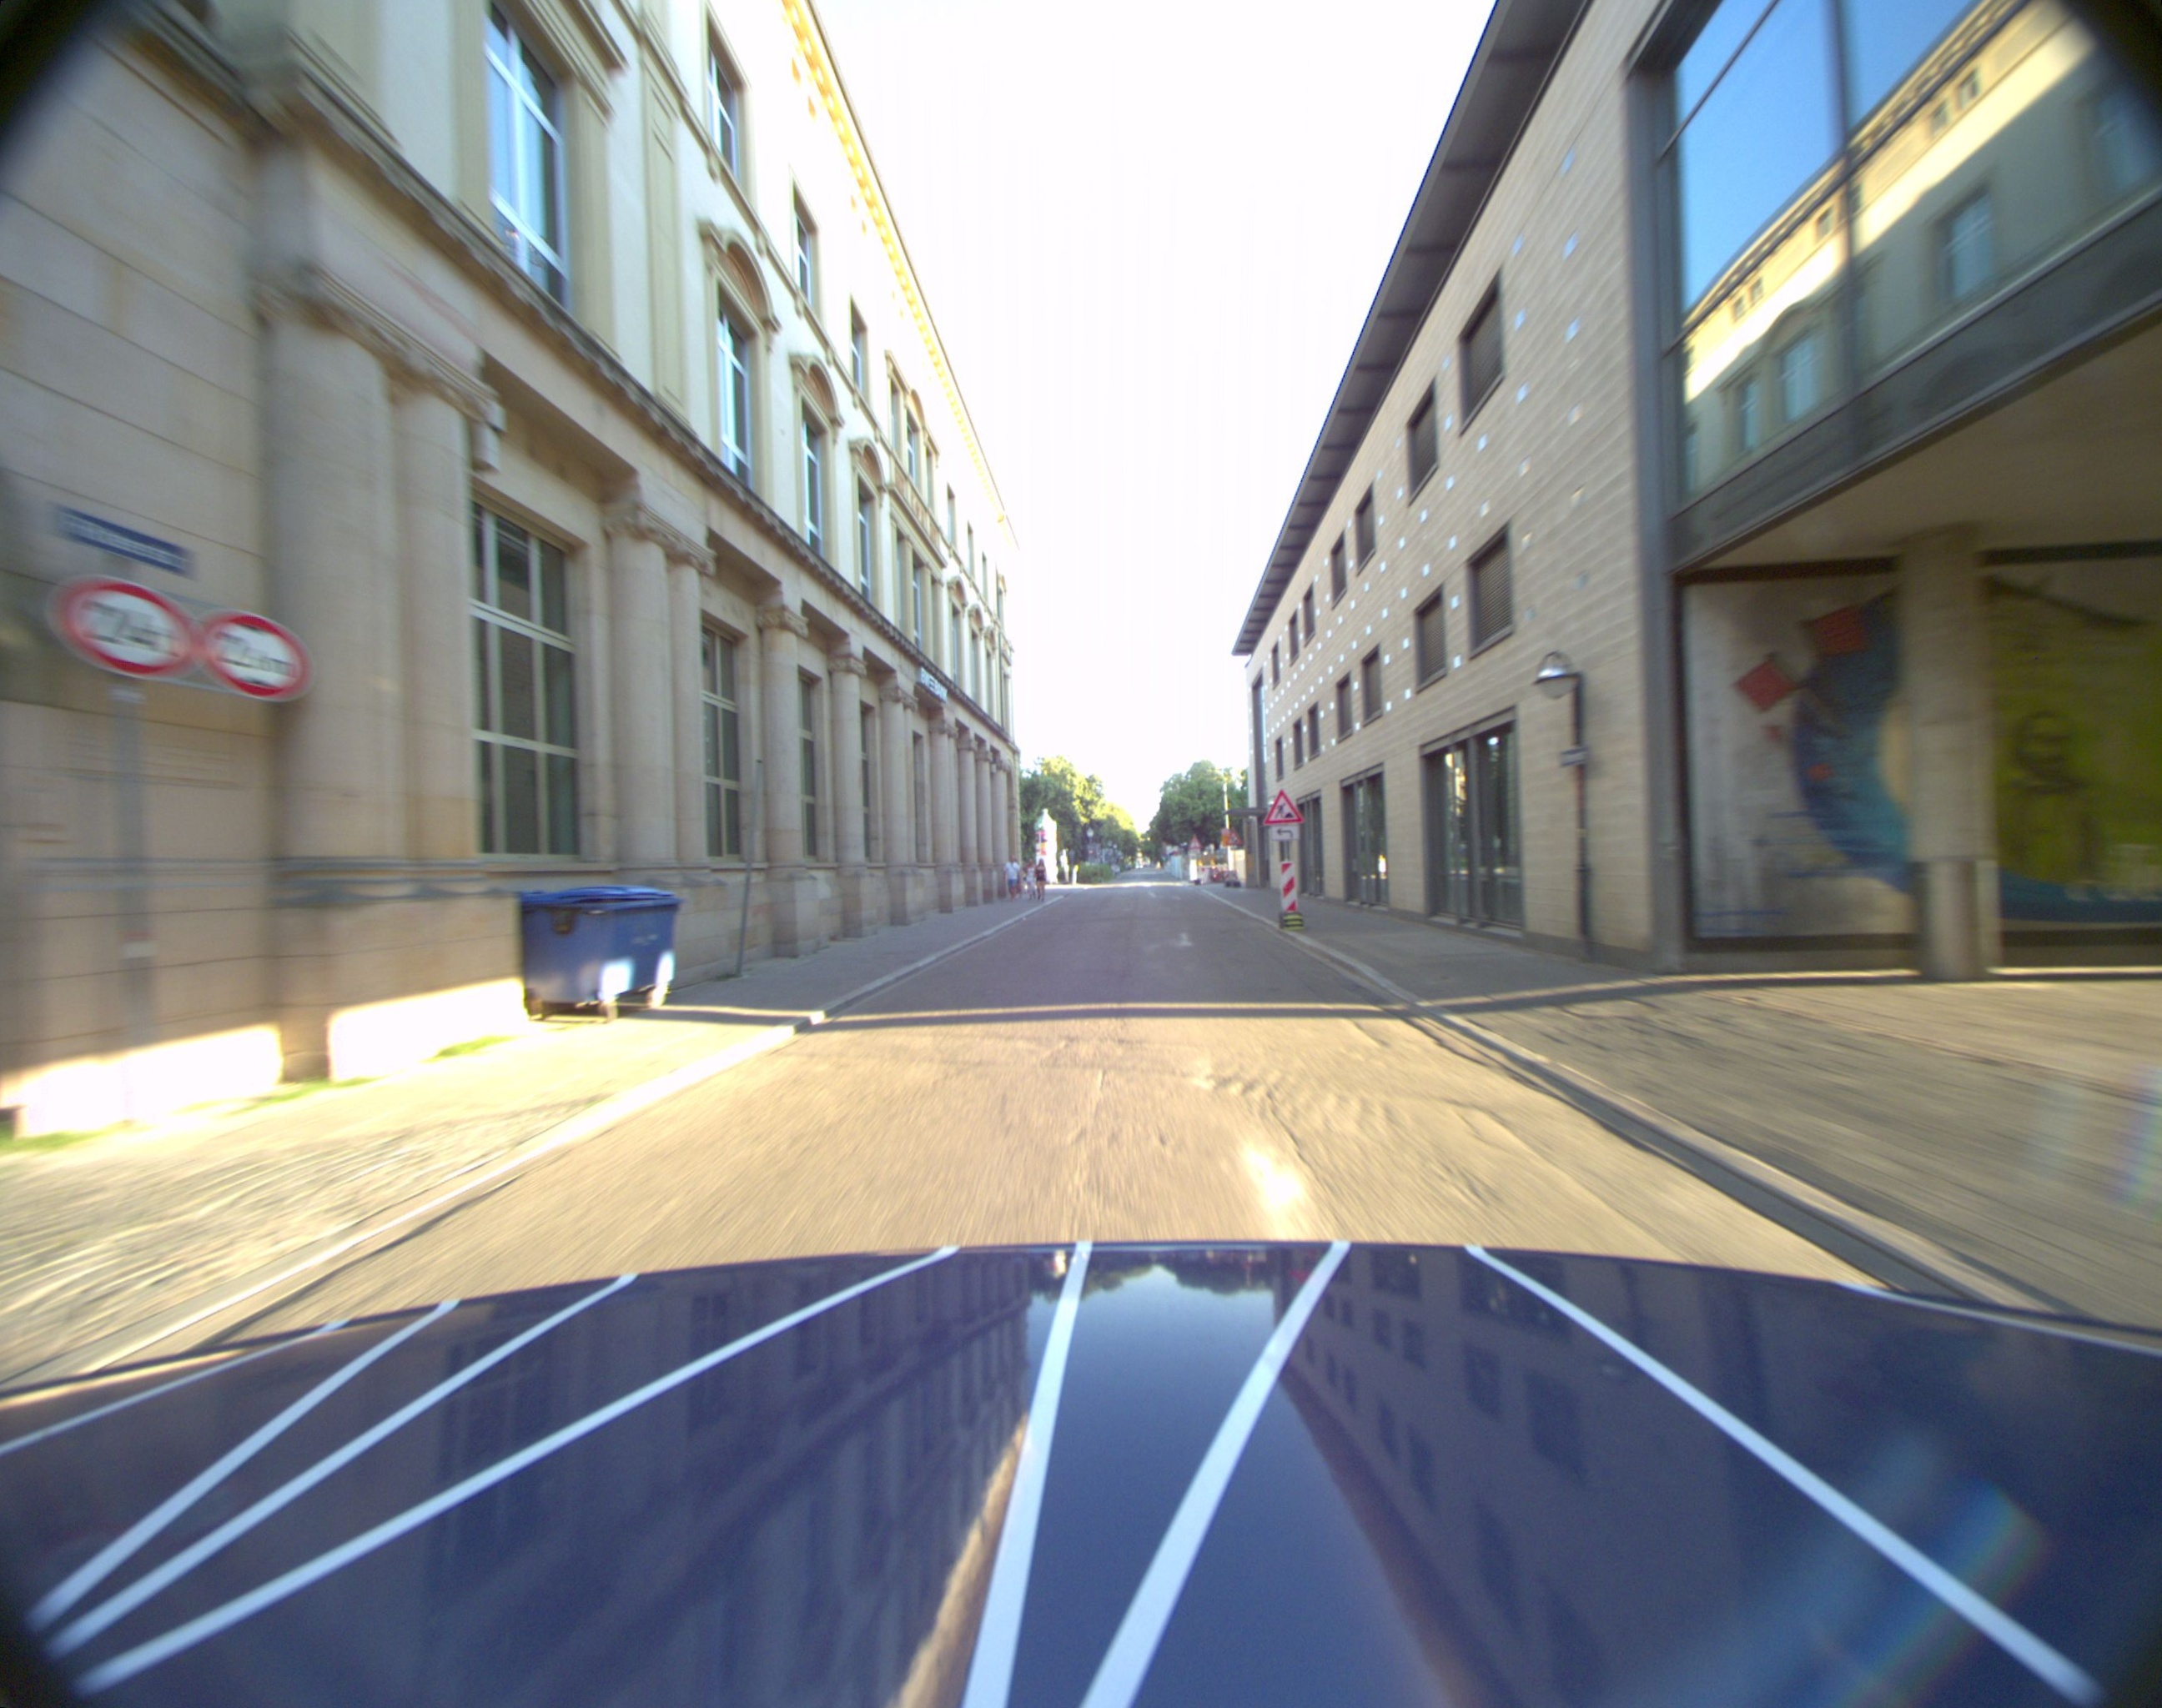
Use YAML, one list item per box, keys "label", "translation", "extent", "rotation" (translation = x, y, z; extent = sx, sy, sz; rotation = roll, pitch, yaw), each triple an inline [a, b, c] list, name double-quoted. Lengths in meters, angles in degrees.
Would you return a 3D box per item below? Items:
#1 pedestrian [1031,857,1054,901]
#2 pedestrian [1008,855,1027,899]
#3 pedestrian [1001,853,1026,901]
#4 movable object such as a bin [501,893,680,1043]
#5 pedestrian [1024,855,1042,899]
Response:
- label: "pedestrian"
  translation: [-1.561, 0.987, 30.611]
  extent: [0.777, 1.736, 0.875]
  rotation: [-1, 0, 4]
- label: "pedestrian"
  translation: [-2.653, 0.962, 31.815]
  extent: [0.638, 1.792, 0.772]
  rotation: [-1, 0, 4]
- label: "pedestrian"
  translation: [-2.700, 0.917, 30.506]
  extent: [0.813, 1.864, 0.875]
  rotation: [-1, 0, 4]
- label: "movable object such as a bin"
  translation: [-5.059, 1.134, 7.944]
  extent: [0.992, 1.384, 1.241]
  rotation: [-1, 0, 4]
- label: "pedestrian"
  translation: [-1.999, 0.938, 31.765]
  extent: [0.638, 1.792, 0.772]
  rotation: [-1, 0, 4]
